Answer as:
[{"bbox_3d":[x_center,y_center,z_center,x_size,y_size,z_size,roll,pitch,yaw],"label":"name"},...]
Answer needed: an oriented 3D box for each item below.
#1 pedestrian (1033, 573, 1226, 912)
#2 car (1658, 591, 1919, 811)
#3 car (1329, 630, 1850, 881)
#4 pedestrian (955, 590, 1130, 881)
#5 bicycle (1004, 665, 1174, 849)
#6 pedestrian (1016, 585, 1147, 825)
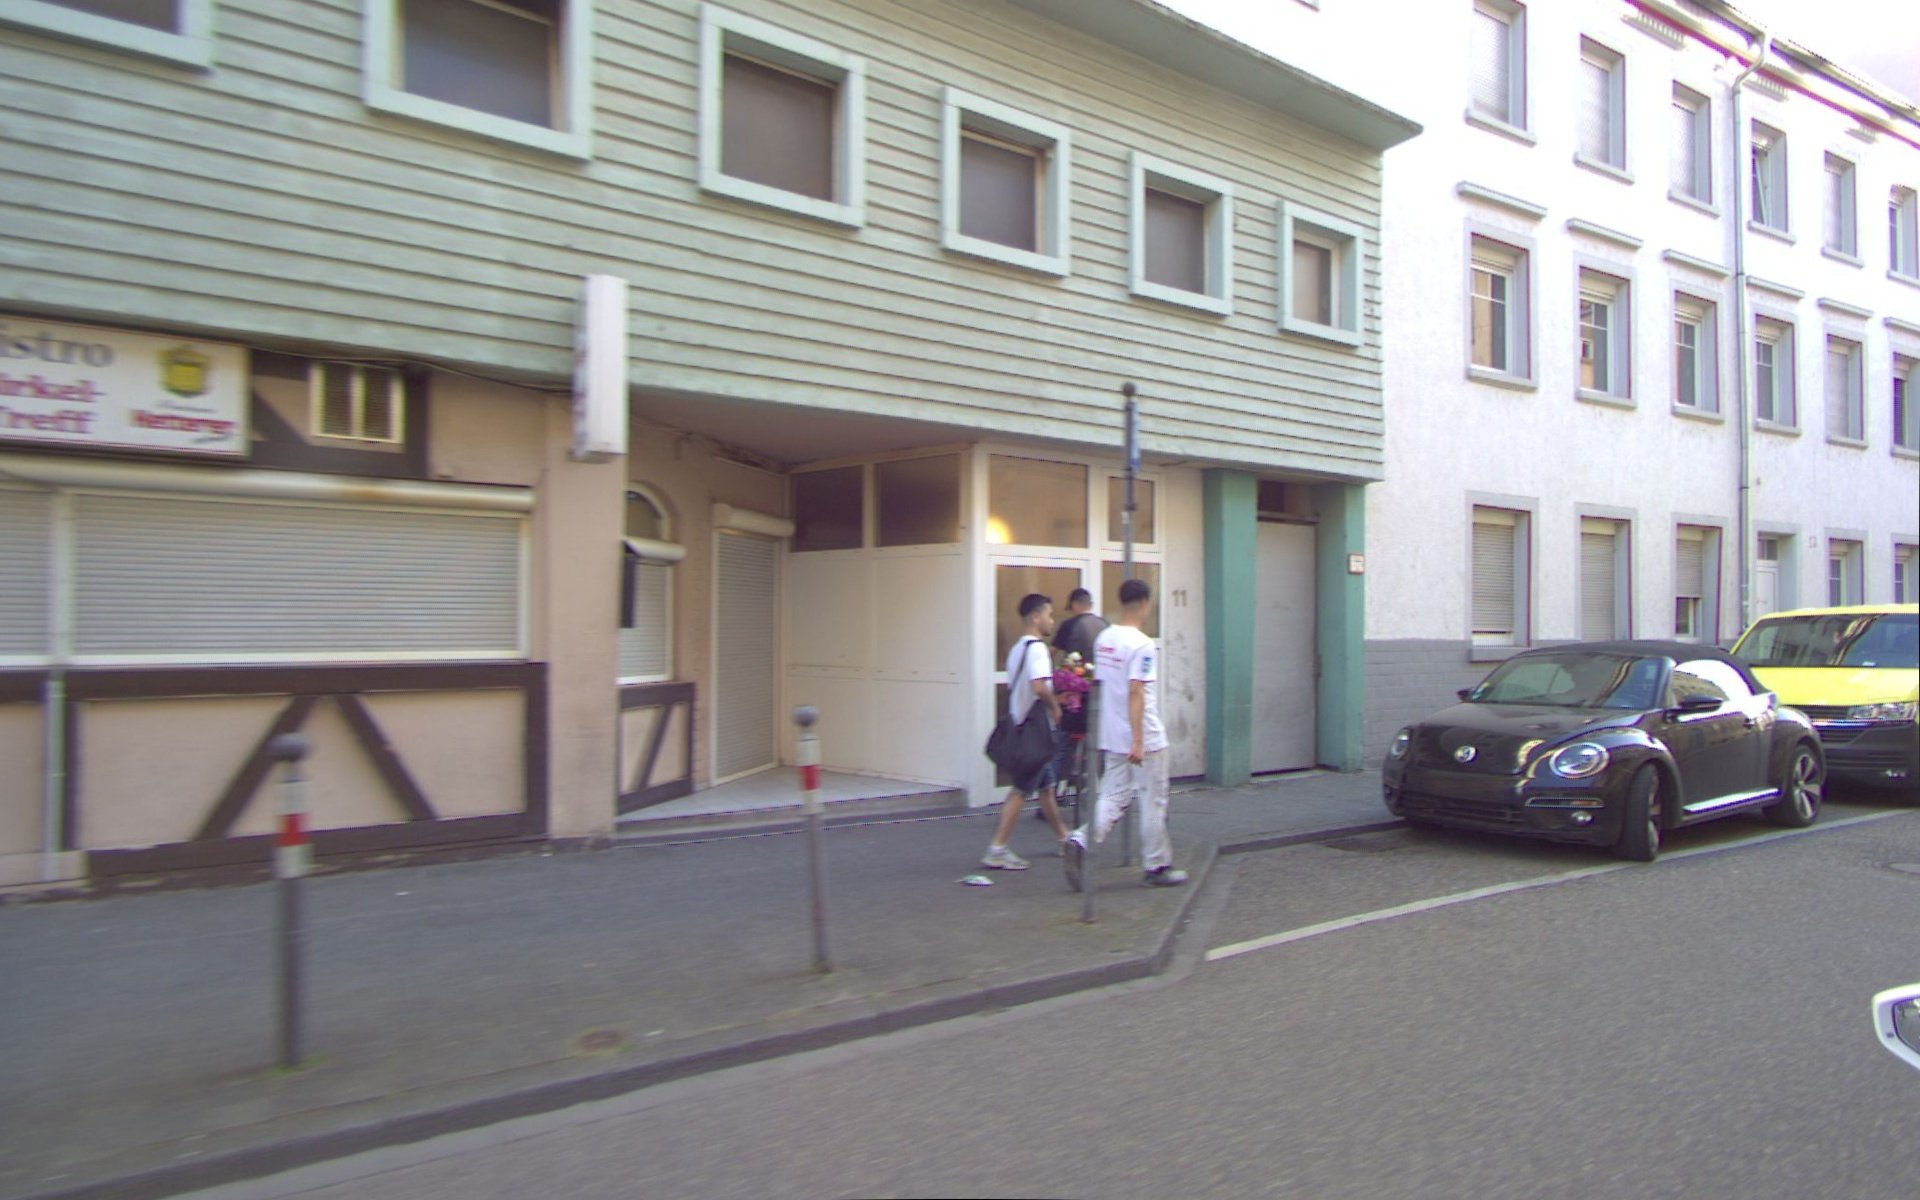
[{"bbox_3d":[0.957,0.760,5.735,0.819,1.757,0.695,1,-3,-30],"label":"pedestrian"},{"bbox_3d":[9.755,0.976,10.668,4.805,1.891,1.873,1,-4,-29],"label":"car"},{"bbox_3d":[5.005,1.040,7.889,4.030,1.505,1.810,1,-4,-31],"label":"car"},{"bbox_3d":[0.513,0.808,6.373,0.884,1.691,0.669,1,-3,-31],"label":"pedestrian"},{"bbox_3d":[0.933,1.132,7.912,0.808,1.178,2.133,0,-2,-8],"label":"bicycle"},{"bbox_3d":[0.930,0.787,7.953,0.787,1.751,1.080,0,-2,-8],"label":"pedestrian"}]
